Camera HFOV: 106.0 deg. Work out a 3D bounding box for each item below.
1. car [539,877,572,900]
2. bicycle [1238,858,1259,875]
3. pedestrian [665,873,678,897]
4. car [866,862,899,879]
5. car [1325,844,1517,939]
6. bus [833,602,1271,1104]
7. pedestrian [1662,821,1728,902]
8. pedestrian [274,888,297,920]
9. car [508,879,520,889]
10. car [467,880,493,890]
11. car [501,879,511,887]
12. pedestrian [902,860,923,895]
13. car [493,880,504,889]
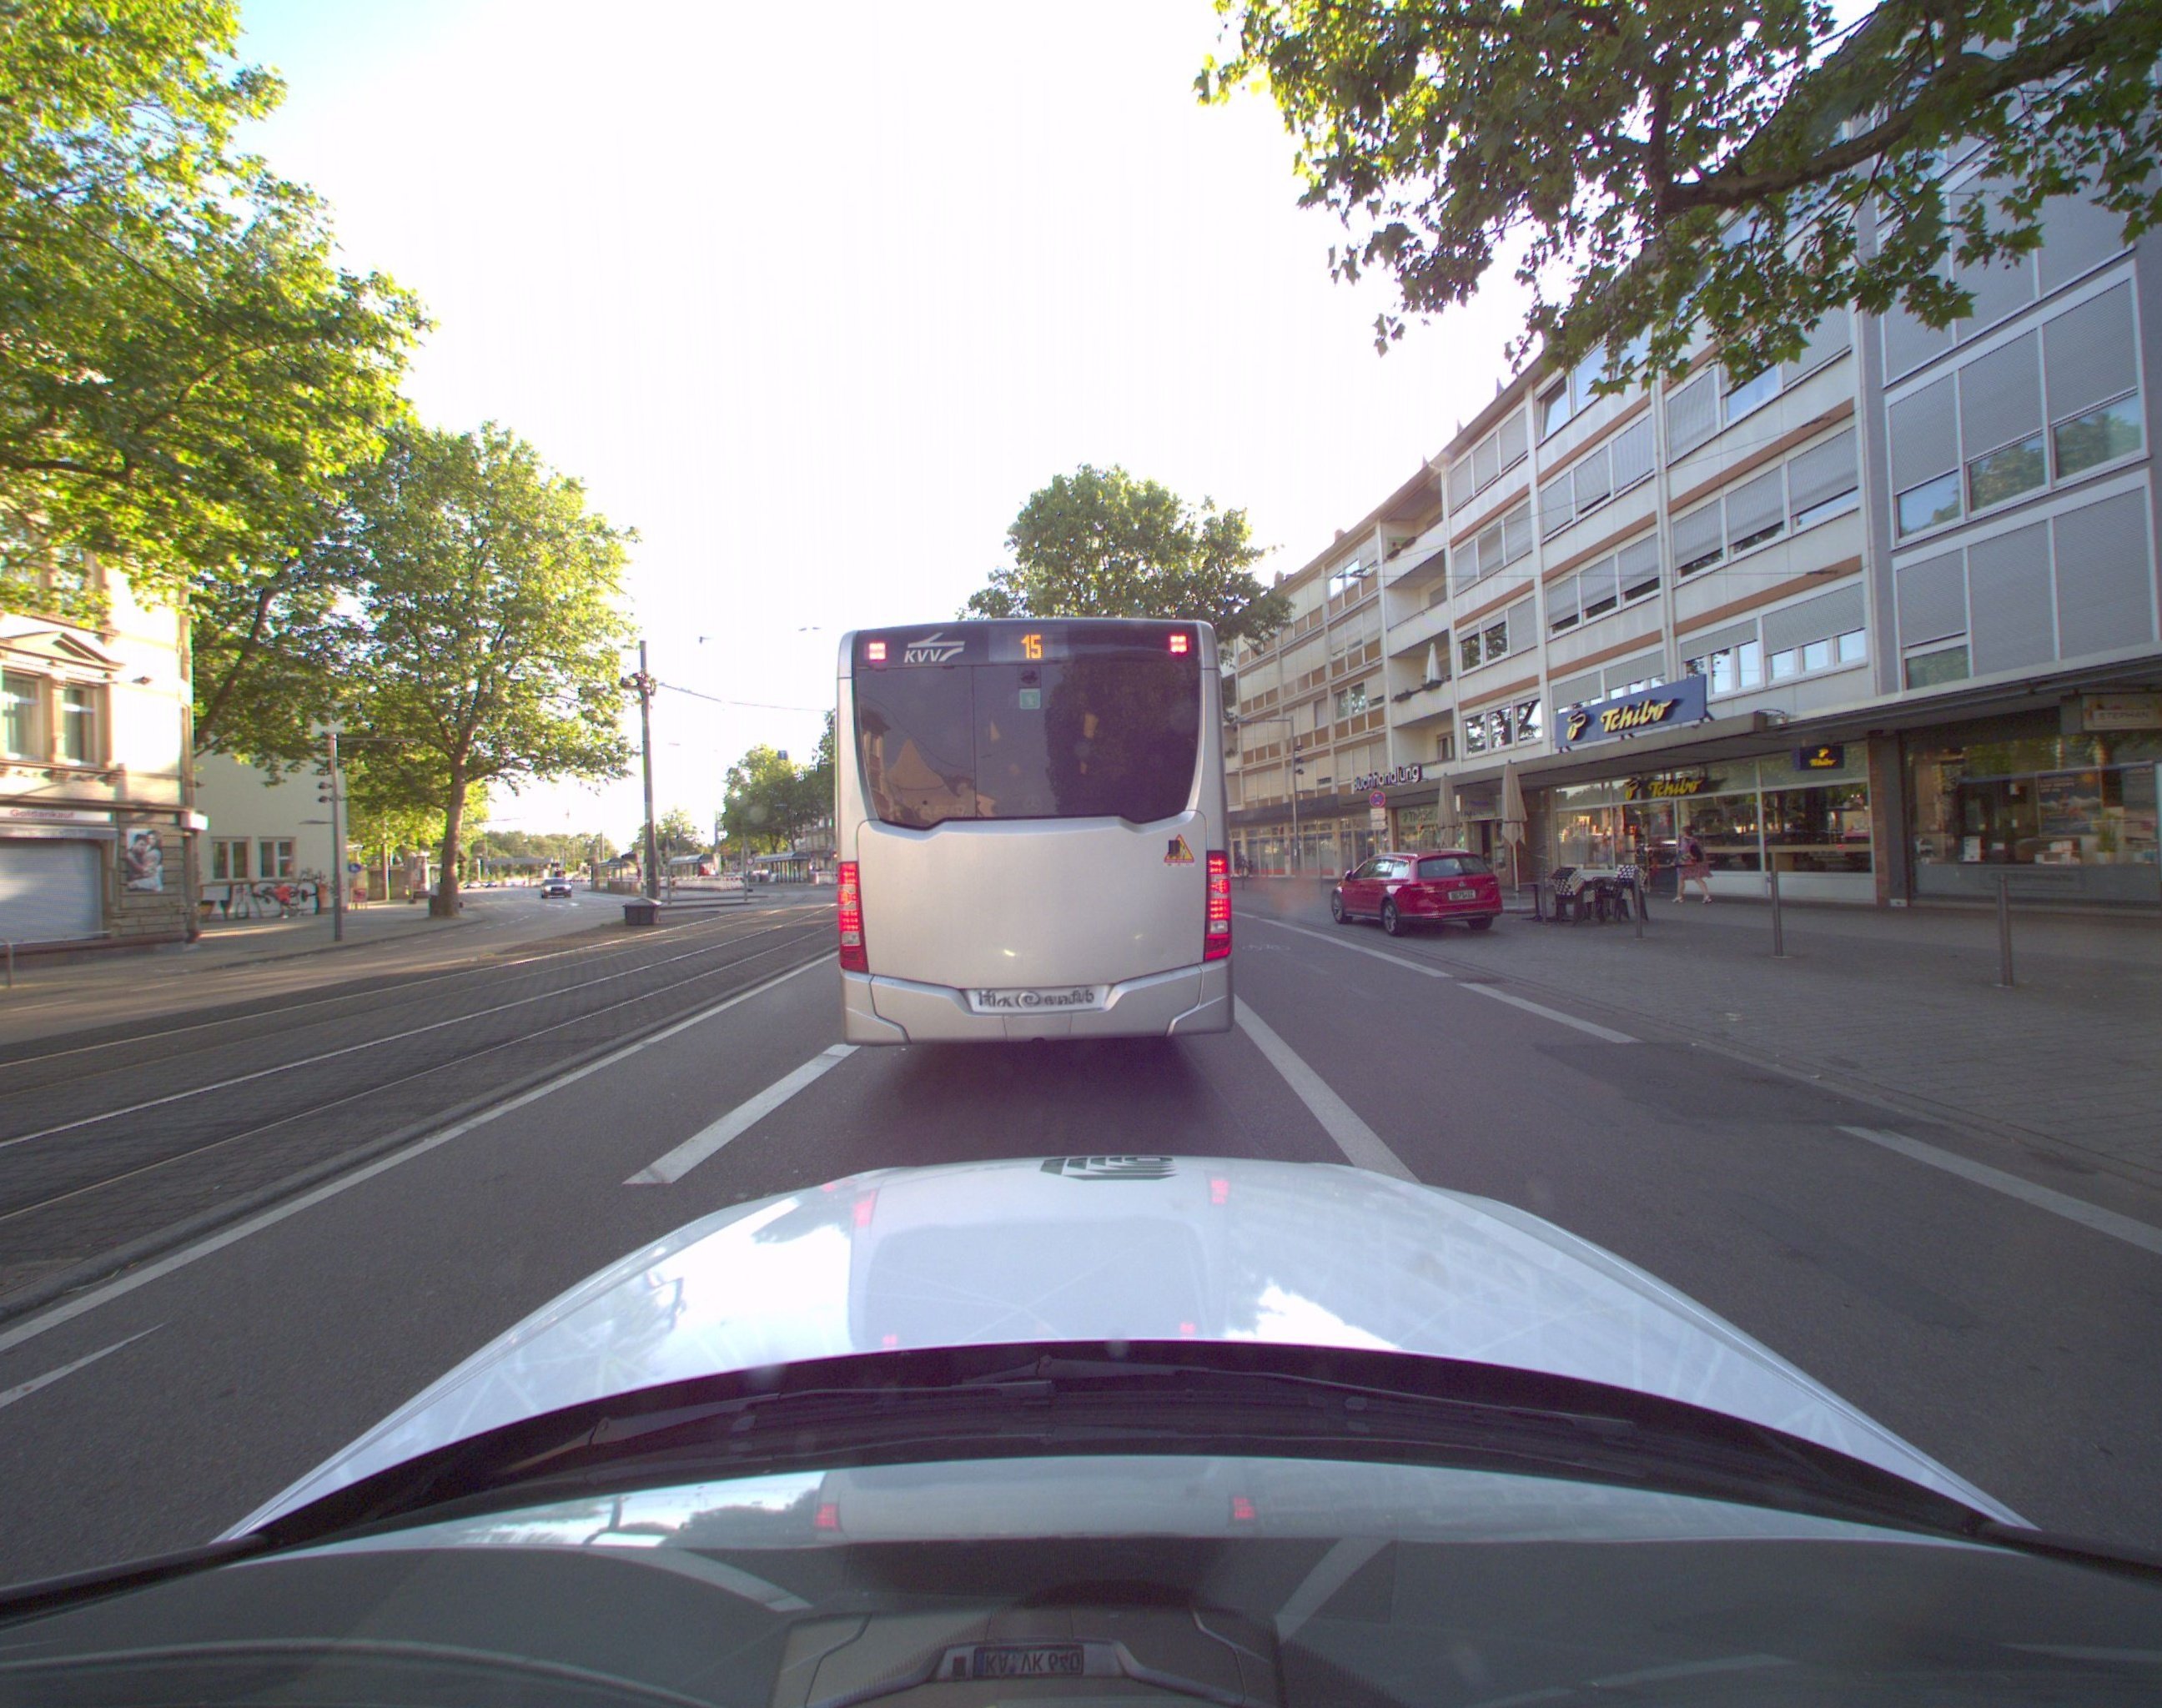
[{"bbox_3d":[-40.042,2.612,62.080,2.008,1.640,3.958,-2,-1,-33],"label":"car"},{"bbox_3d":[9.345,0.712,45.458,0.413,0.945,1.431,-2,-1,-18],"label":"bicycle"},{"bbox_3d":[-29.467,2.209,58.590,0.661,1.656,0.438,-2,-1,-41],"label":"pedestrian"},{"bbox_3d":[-21.585,1.766,88.678,2.010,1.792,3.954,0,-1,-39],"label":"car"},{"bbox_3d":[6.357,0.638,15.840,1.765,1.482,4.300,-3,0,-2],"label":"car"},{"bbox_3d":[-0.161,0.016,9.976,2.622,3.028,9.995,-1,0,0],"label":"bus"},{"bbox_3d":[12.618,0.150,16.761,0.649,1.592,0.788,-4,-1,-4],"label":"pedestrian"},{"bbox_3d":[-38.200,2.397,39.131,0.487,1.513,0.614,-3,0,25],"label":"pedestrian"},{"bbox_3d":[-111.420,5.903,160.032,1.858,1.684,3.677,-4,1,-35],"label":"car"},{"bbox_3d":[-122.640,6.330,166.157,1.768,1.640,4.024,-3,-1,44],"label":"car"},{"bbox_3d":[-130.063,6.479,184.213,1.858,1.684,3.676,-2,-1,-35],"label":"car"},{"bbox_3d":[-8.675,1.213,41.895,0.893,1.728,0.518,-2,-1,3],"label":"pedestrian"},{"bbox_3d":[-117.801,6.092,164.693,1.858,1.684,3.676,-2,-1,-35],"label":"car"}]
